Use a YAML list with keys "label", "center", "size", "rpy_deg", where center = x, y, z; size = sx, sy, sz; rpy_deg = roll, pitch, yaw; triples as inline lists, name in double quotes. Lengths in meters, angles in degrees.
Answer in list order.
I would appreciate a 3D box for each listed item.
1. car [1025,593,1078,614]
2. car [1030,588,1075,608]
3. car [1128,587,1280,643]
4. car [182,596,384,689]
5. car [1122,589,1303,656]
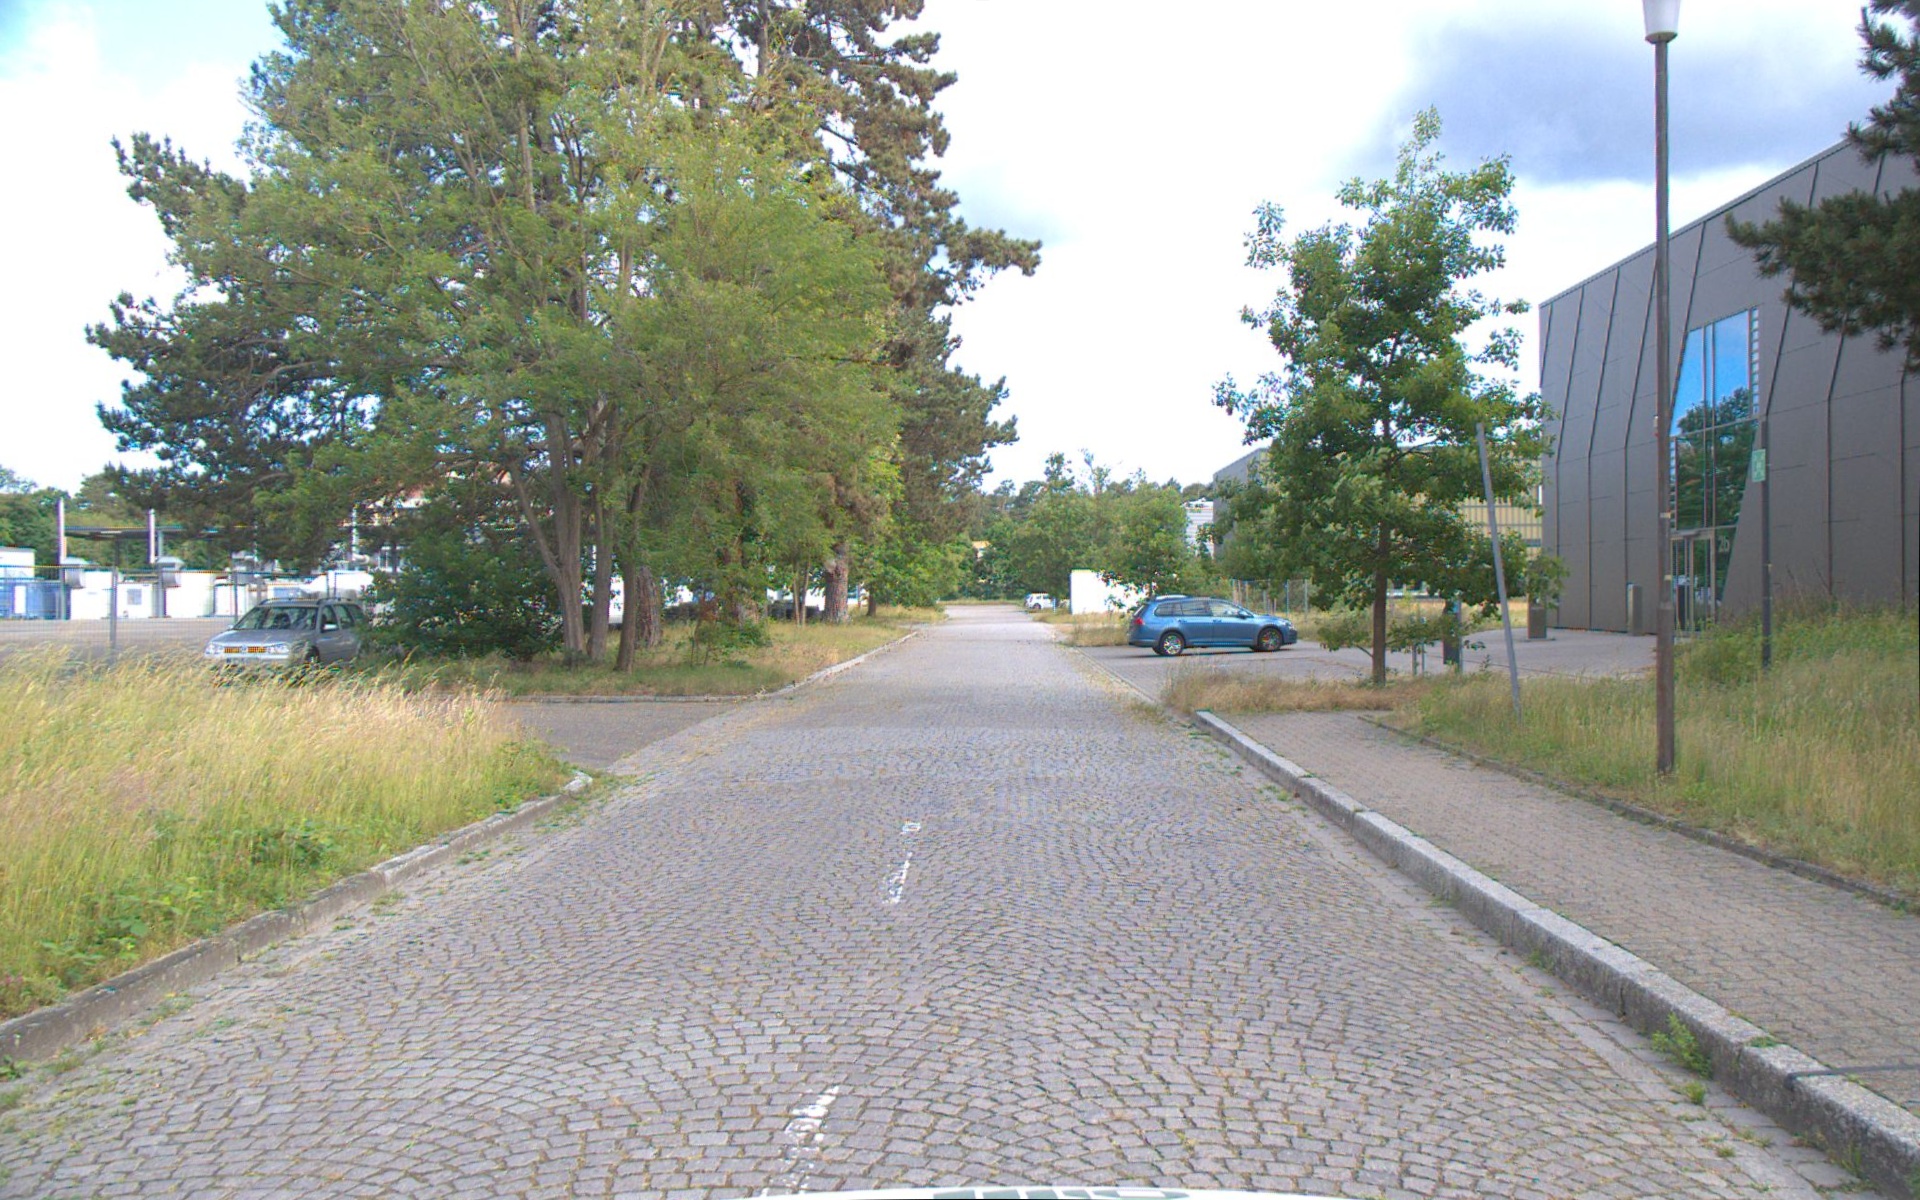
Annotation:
- label: "car"
  center: [7.589, 0.265, 137.442]
  size: [4.265, 1.717, 1.925]
  rpy_deg: [-1, 0, 0]
- label: "car"
  center: [8.895, -0.214, 158.421]
  size: [4.264, 1.811, 1.926]
  rpy_deg: [-1, 0, 2]
- label: "car"
  center: [7.507, 0.448, 51.207]
  size: [4.424, 1.558, 2.001]
  rpy_deg: [-2, 0, 2]
- label: "car"
  center: [-11.887, 0.689, 29.375]
  size: [1.880, 1.502, 4.368]
  rpy_deg: [0, 0, -1]
- label: "car"
  center: [6.658, 0.571, 43.896]
  size: [4.427, 1.558, 1.999]
  rpy_deg: [-2, 0, -2]
